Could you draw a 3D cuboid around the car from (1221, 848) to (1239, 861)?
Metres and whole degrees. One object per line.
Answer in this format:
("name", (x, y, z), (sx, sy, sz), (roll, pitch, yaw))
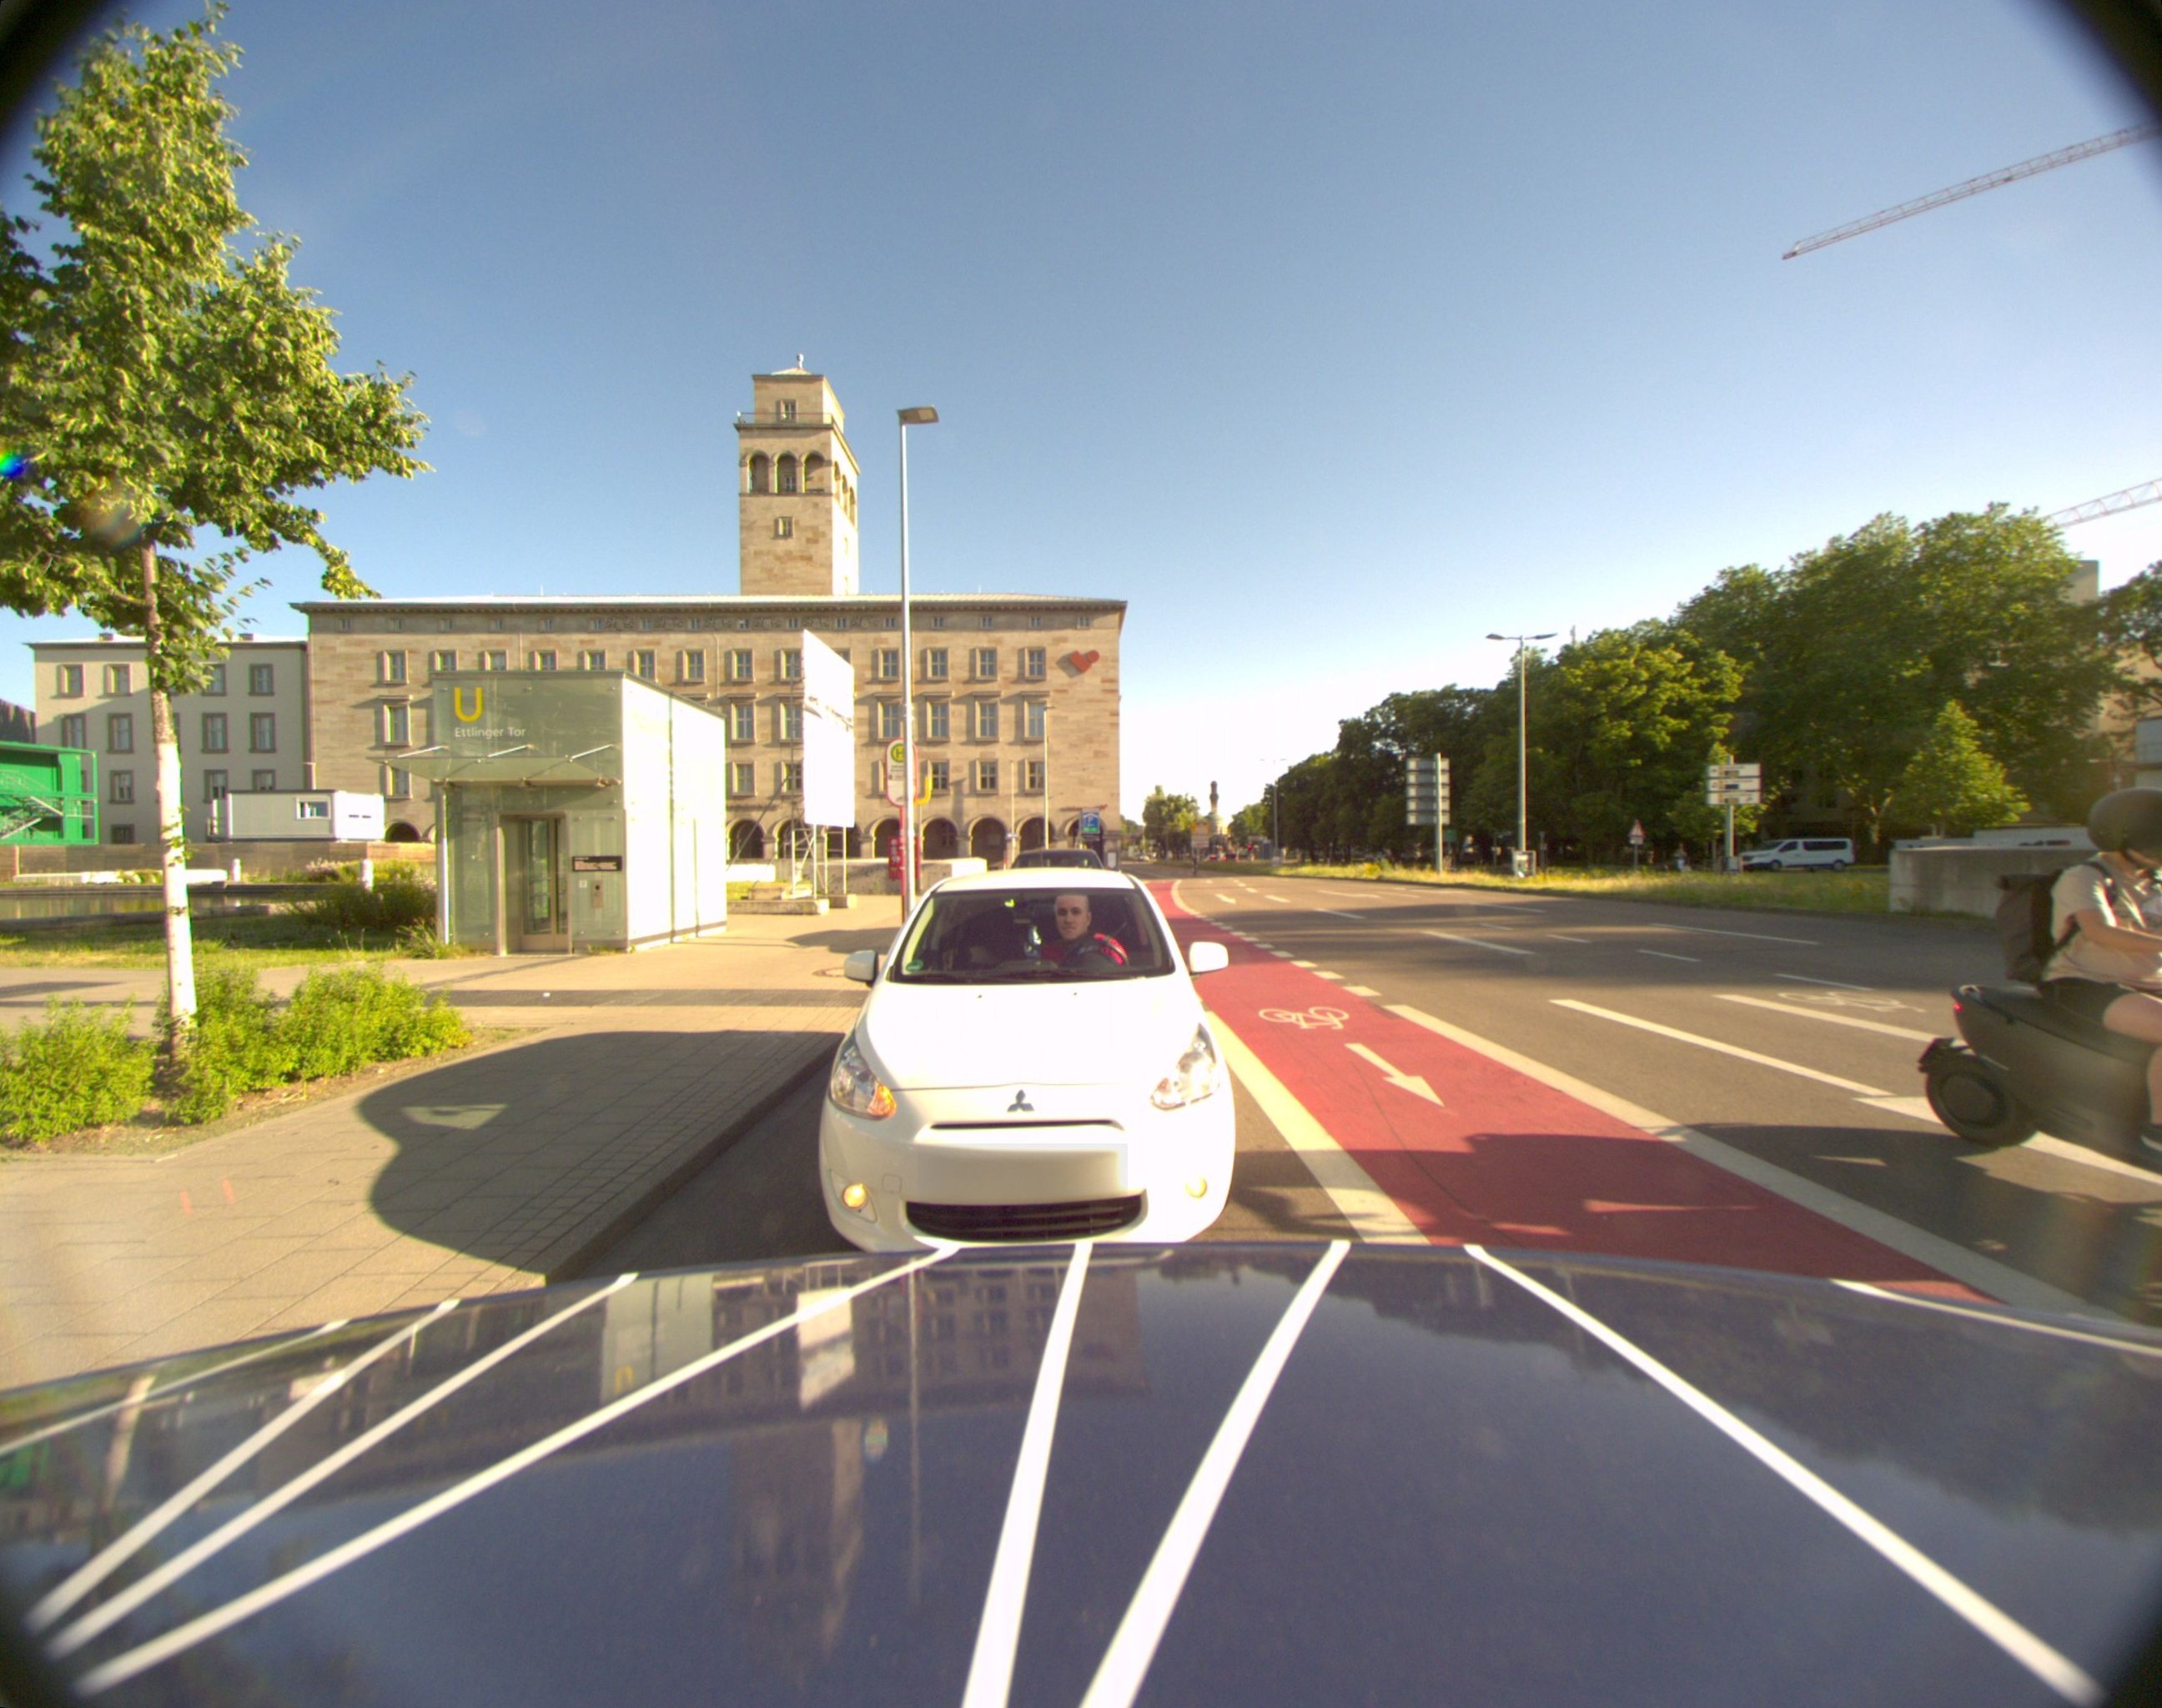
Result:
("car", (21.590, 0.094, 110.318), (1.819, 1.817, 3.999), (-2, 1, 1))

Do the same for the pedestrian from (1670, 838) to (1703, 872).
("pedestrian", (33.945, 0.056, 42.583), (0.989, 1.821, 1.019), (-2, 1, -5))

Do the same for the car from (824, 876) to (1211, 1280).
("car", (-0.231, 0.954, 4.847), (1.496, 1.477, 3.604), (-2, 0, 1))

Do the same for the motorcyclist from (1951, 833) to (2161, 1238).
("motorcyclist", (4.278, 0.655, 2.947), (0.727, 1.466, 0.917), (-2, 0, 1))

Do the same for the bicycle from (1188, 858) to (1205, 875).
("bicycle", (8.431, 0.899, 55.504), (0.854, 1.109, 2.808), (-2, 0, 1))

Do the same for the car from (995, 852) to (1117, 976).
("car", (-0.371, 0.838, 12.527), (1.642, 1.653, 3.849), (-2, 0, -1))

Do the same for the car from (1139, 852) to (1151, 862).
("car", (12.889, 0.527, 153.081), (1.877, 1.827, 4.584), (-2, 1, -3))

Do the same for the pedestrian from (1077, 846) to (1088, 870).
("pedestrian", (0.192, 0.460, 82.248), (1.122, 2.524, 1.055), (-2, 1, 1))

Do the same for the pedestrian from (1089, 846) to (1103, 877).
("pedestrian", (1.284, 0.622, 64.594), (1.122, 2.524, 1.055), (-2, 1, 1))

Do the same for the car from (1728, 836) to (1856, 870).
("car", (42.133, -0.065, 45.120), (5.516, 1.924, 2.065), (-1, 1, 2))

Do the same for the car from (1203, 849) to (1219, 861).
("car", (20.582, 0.090, 120.449), (1.747, 1.778, 3.947), (-2, 1, 1))

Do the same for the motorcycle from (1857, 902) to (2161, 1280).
("motorcycle", (4.286, 0.899, 2.894), (0.724, 1.286, 1.884), (-2, 0, 1))

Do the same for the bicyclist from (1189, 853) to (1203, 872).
("bicyclist", (8.415, 0.600, 55.459), (0.854, 1.340, 0.829), (-2, 1, 1))
